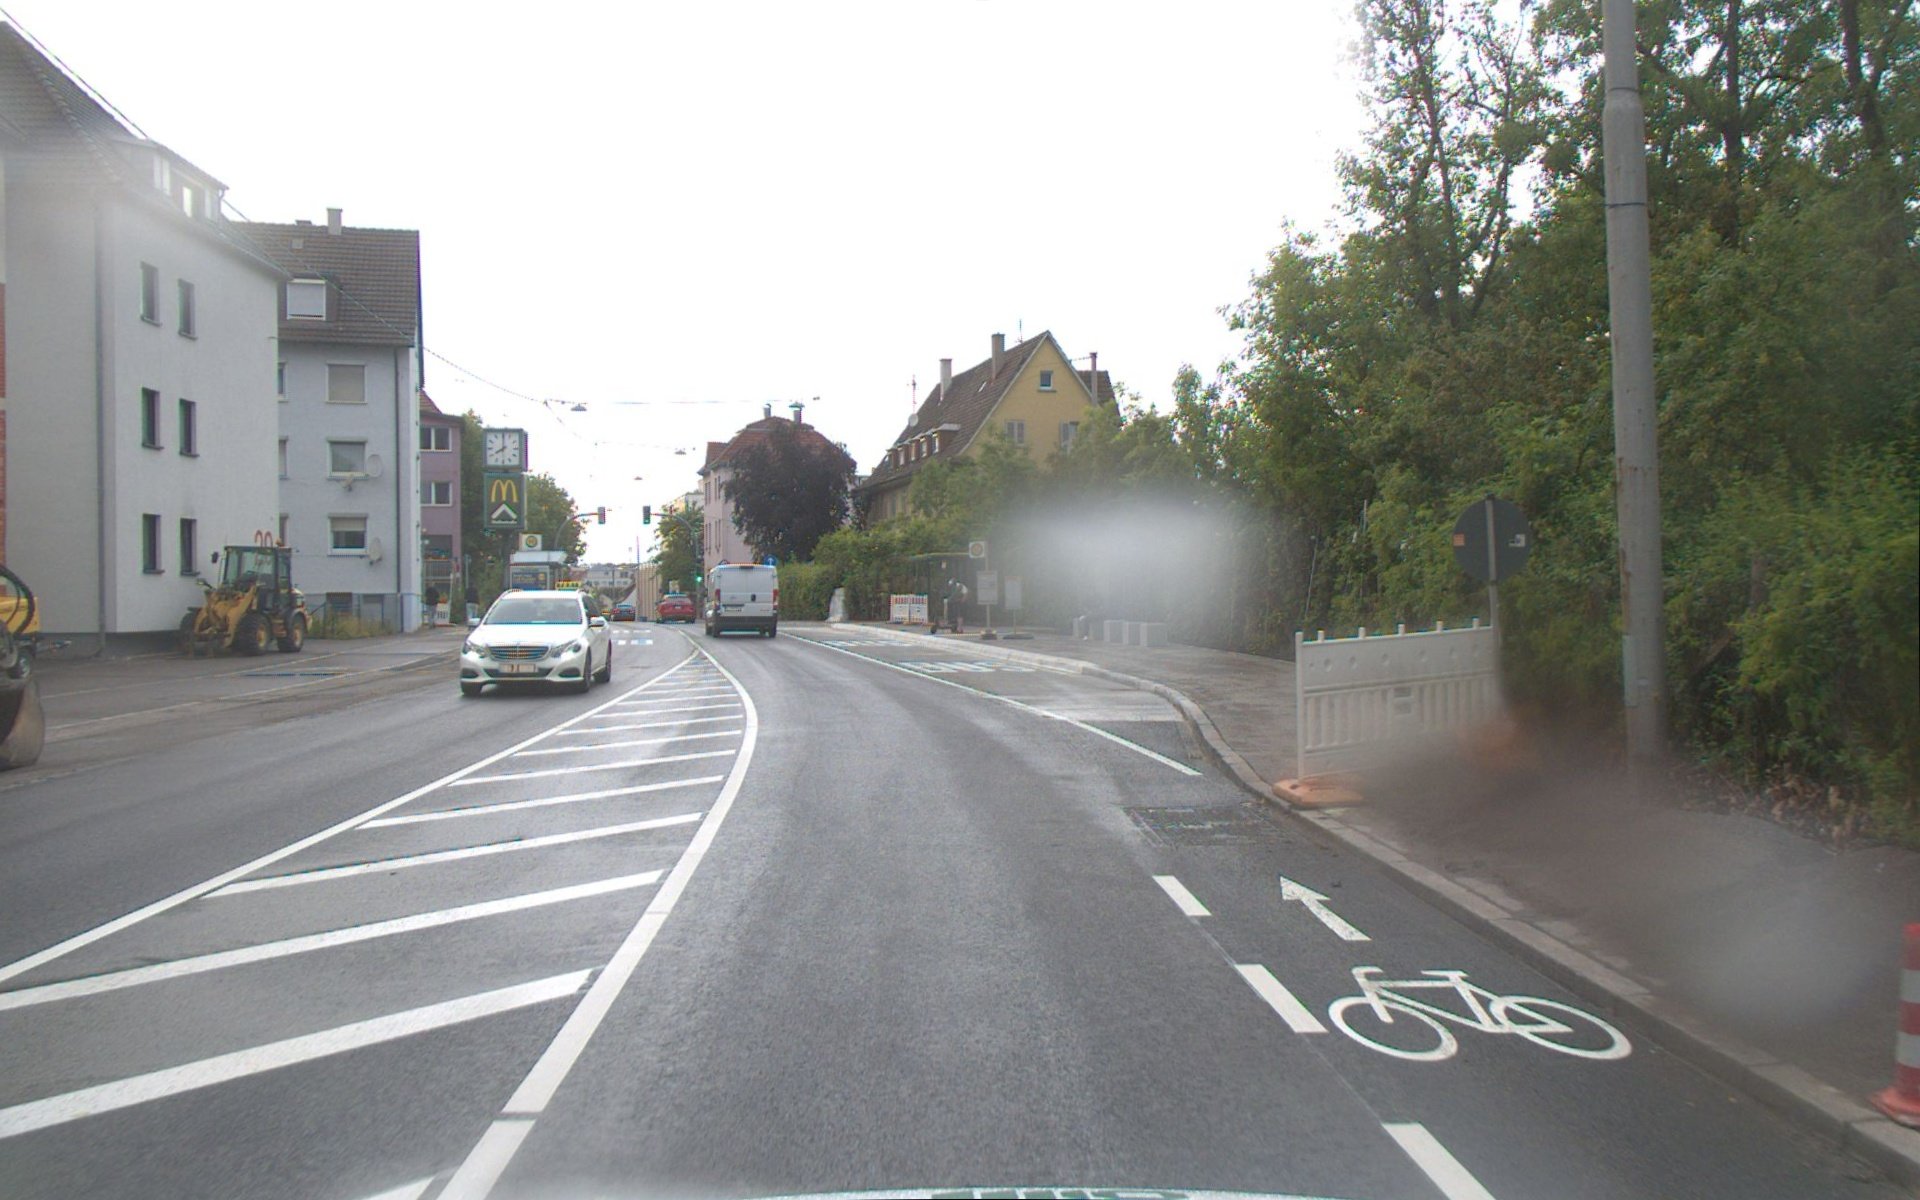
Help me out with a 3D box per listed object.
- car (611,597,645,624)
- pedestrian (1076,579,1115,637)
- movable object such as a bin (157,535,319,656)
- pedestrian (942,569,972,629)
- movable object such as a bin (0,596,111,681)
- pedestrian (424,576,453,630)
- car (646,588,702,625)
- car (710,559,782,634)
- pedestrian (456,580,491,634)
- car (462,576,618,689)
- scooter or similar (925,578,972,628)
[{"bbox_3d":[-25.178,0.784,125.228,2.201,1.835,4.694,0,2,-16],"label":"car"},{"bbox_3d":[3.377,0.195,41.336,0.861,1.391,1.065,1,2,0],"label":"pedestrian"},{"bbox_3d":[-17.351,-0.191,40.019,1.953,2.729,4.628,1,2,-1],"label":"movable object such as a bin"},{"bbox_3d":[-0.089,-0.034,49.822,0.887,1.761,0.654,1,2,0],"label":"pedestrian"},{"bbox_3d":[-16.299,0.642,28.538,1.523,1.378,3.995,0,-1,-5],"label":"movable object such as a bin"},{"bbox_3d":[-20.503,0.104,64.981,1.062,2.048,1.047,0,2,-17],"label":"pedestrian"},{"bbox_3d":[-14.552,0.314,83.981,2.202,1.685,4.691,0,2,-17],"label":"car"},{"bbox_3d":[-6.952,-0.158,53.452,2.196,2.251,4.705,0,2,-9],"label":"car"},{"bbox_3d":[-18.830,0.278,64.056,1.185,2.048,1.049,0,2,-12],"label":"pedestrian"},{"bbox_3d":[-6.382,0.483,25.570,1.893,1.583,4.610,1,-1,-9],"label":"car"},{"bbox_3d":[-0.342,0.084,49.818,0.489,1.430,1.546,2,4,43],"label":"scooter or similar"}]
